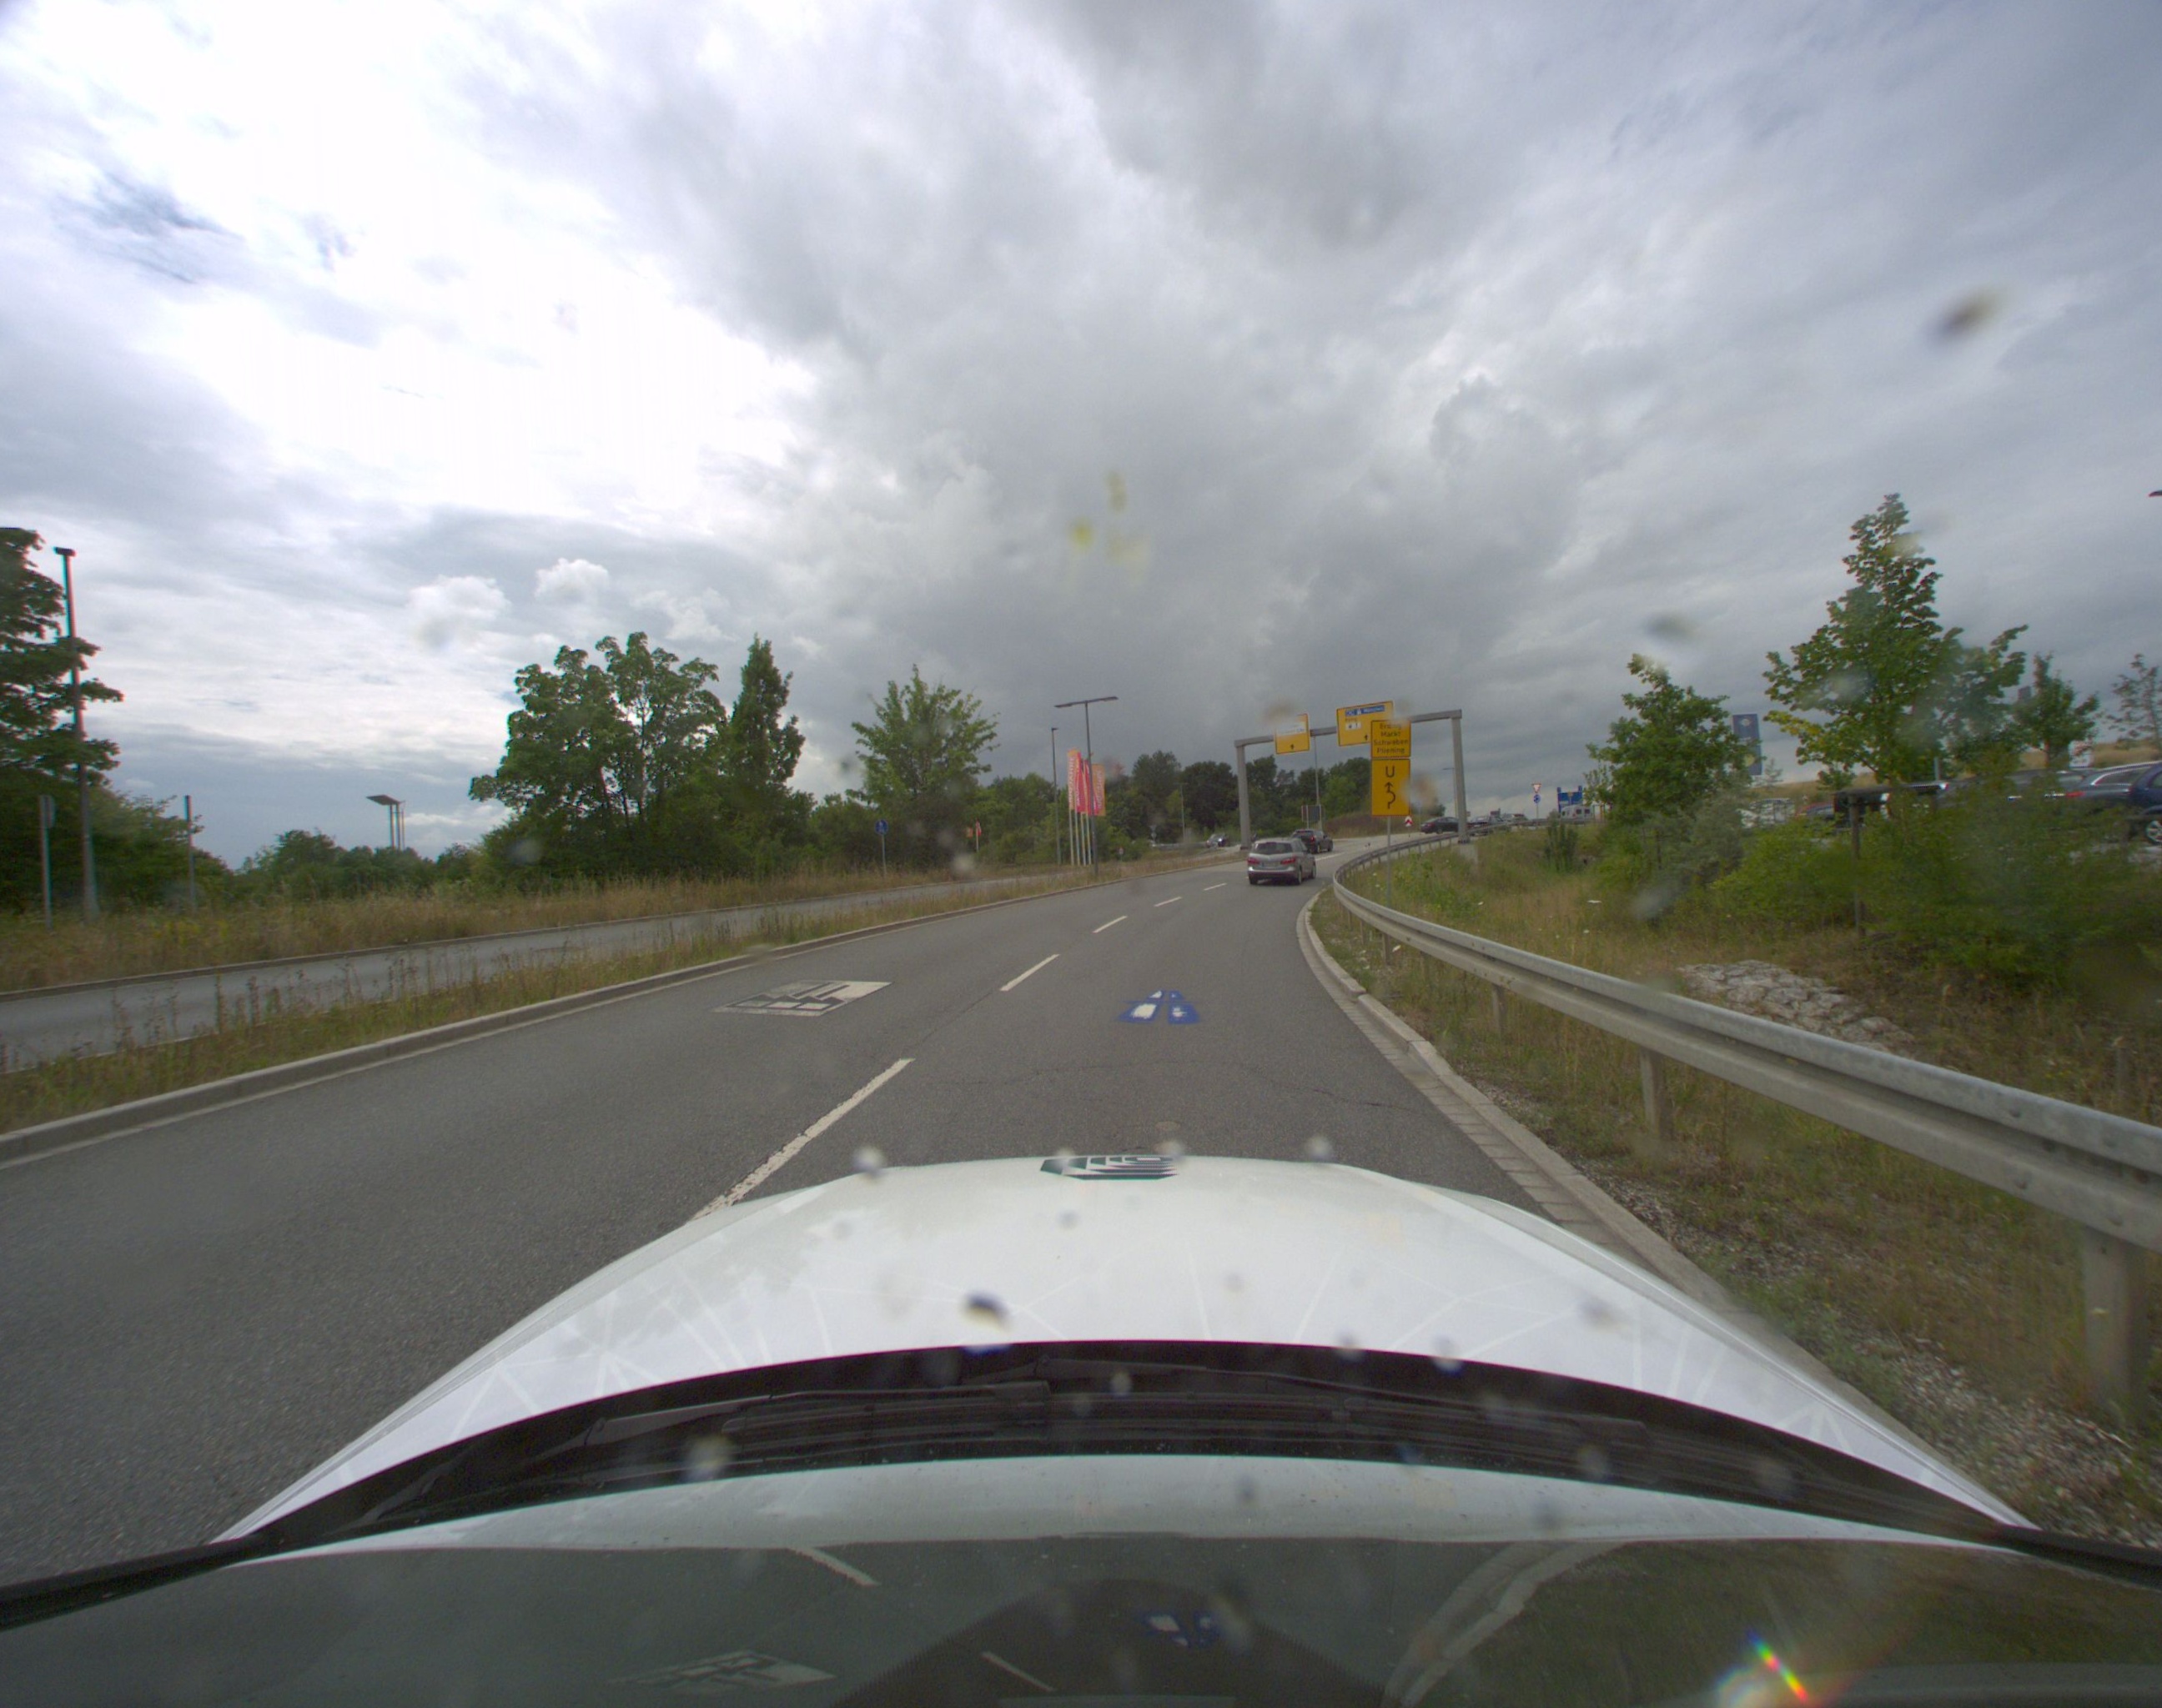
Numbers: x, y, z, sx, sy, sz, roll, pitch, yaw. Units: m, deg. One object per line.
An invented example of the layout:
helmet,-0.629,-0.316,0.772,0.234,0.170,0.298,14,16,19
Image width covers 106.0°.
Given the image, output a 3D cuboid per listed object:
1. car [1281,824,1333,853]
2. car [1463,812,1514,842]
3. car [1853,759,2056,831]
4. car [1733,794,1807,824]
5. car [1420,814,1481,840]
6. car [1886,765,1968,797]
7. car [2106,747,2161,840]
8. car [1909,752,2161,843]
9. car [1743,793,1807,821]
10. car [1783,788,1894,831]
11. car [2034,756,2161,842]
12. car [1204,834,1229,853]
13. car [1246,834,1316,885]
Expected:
car,13.147,-0.903,47.283,1.851,1.605,3.759,1,2,34
car,28.097,-1.889,56.098,3.978,1.837,1.639,-4,0,-40
car,29.141,-1.899,27.345,1.833,1.842,4.163,-5,-1,-21
car,44.401,-2.874,52.577,1.635,1.625,3.582,-4,0,0
car,29.947,-2.186,66.077,4.150,1.783,1.893,-4,0,-14
car,52.238,-4.482,50.362,1.680,1.547,3.670,-3,0,11
car,20.661,-1.215,13.746,1.666,1.638,3.745,-4,-2,-16
car,23.854,-1.327,19.970,1.833,1.734,4.519,-5,-1,-20
car,59.128,-3.972,69.457,3.998,2.013,1.806,-4,0,40
car,35.751,-2.058,38.543,1.550,1.624,3.440,-5,-1,-18
car,22.347,-1.222,16.293,1.757,1.607,3.786,-5,-1,-17
car,14.692,-1.170,88.232,1.838,1.664,4.184,-6,1,20
car,7.144,0.146,28.880,1.752,1.616,3.943,-3,0,22
